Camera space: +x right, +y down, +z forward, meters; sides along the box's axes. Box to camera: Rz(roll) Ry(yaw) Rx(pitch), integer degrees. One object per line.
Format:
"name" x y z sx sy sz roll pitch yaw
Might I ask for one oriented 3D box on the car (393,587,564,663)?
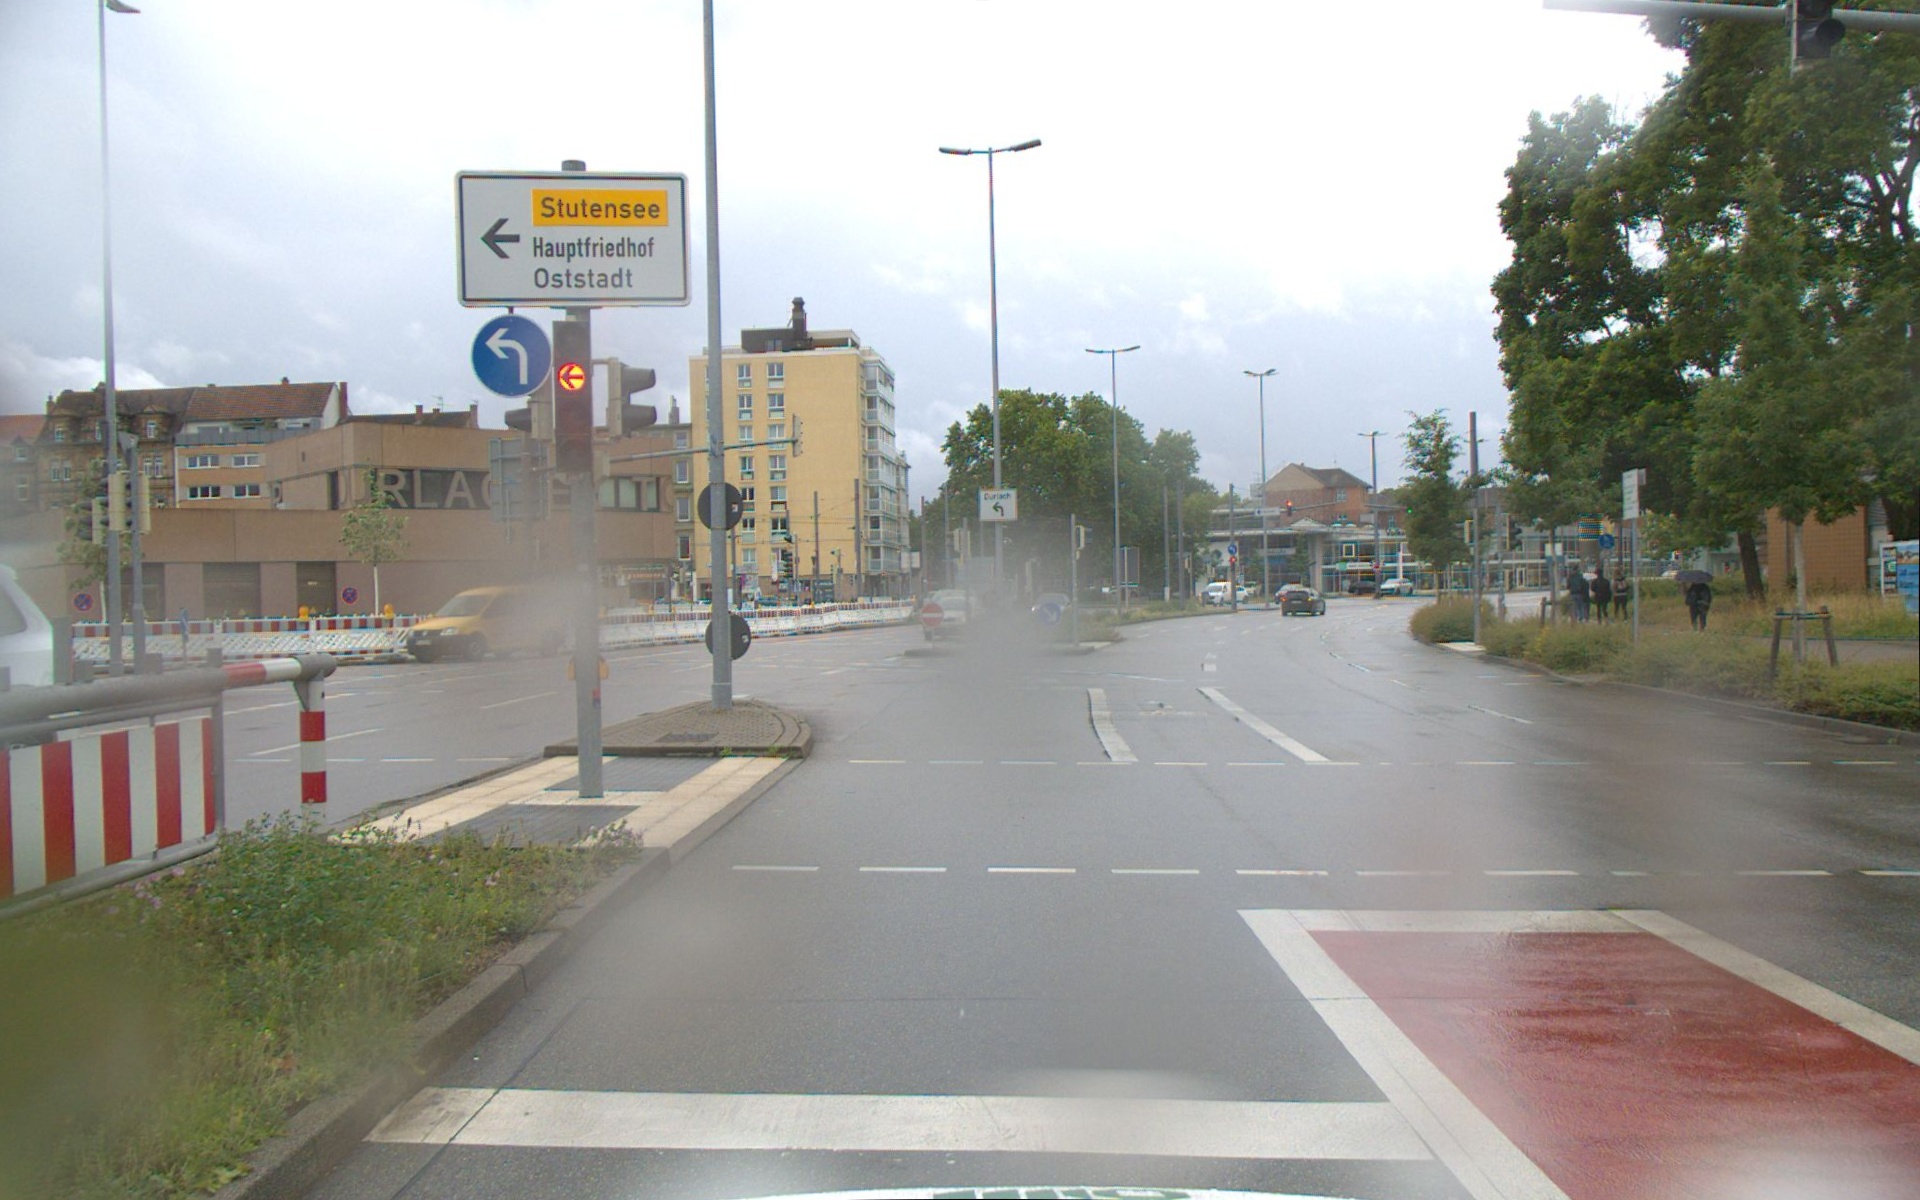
"car" -11.729 0.578 40.544 1.671 1.735 4.150 -1 0 25

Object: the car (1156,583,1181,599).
"car" 24.041 -1.029 190.489 1.753 1.672 4.159 -1 0 23

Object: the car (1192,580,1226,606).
"car" 18.756 -0.518 124.394 1.753 1.890 4.161 -1 0 20

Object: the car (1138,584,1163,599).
"car" 22.005 -0.980 191.287 1.753 1.672 4.159 -1 0 23

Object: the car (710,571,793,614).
"car" -17.817 -0.680 141.390 6.601 3.439 2.810 -2 0 2

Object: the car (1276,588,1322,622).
"car" 17.955 0.264 87.523 1.753 1.672 4.160 -1 0 21

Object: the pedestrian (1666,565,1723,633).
"pedestrian" 17.672 -0.027 39.817 1.000 1.615 0.937 -1 0 9

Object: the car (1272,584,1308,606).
"car" 25.796 -0.394 129.050 1.755 1.672 4.043 -1 0 26

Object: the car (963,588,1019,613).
"car" 2.512 0.052 132.709 4.093 1.890 1.782 -2 0 -25

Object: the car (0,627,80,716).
"car" -20.476 1.495 33.752 4.398 1.735 1.694 -2 0 -30

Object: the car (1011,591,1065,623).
"car" 3.630 0.313 76.274 1.734 1.400 4.124 -1 0 13

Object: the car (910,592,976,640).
"car" -0.540 0.527 57.130 1.658 1.440 4.187 -2 1 8

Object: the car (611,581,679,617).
"car" -26.998 -0.125 141.896 5.239 2.937 2.340 -2 0 2

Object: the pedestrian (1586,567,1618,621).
"pedestrian" 19.423 -0.191 50.020 0.688 1.615 0.937 -1 0 9

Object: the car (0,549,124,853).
"car" -6.341 0.584 8.069 1.788 1.711 5.167 0 0 1

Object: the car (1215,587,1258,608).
"car" 23.565 -0.258 140.899 1.760 1.672 4.379 -1 0 37

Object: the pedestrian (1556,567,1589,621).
"pedestrian" 18.739 -0.175 50.597 0.737 1.615 0.937 -1 0 9

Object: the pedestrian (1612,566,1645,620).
"pedestrian" 20.168 -0.212 49.898 0.688 1.615 0.937 -1 0 9

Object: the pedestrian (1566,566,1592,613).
"pedestrian" 21.356 -0.370 57.063 0.688 1.615 0.937 -1 0 12
